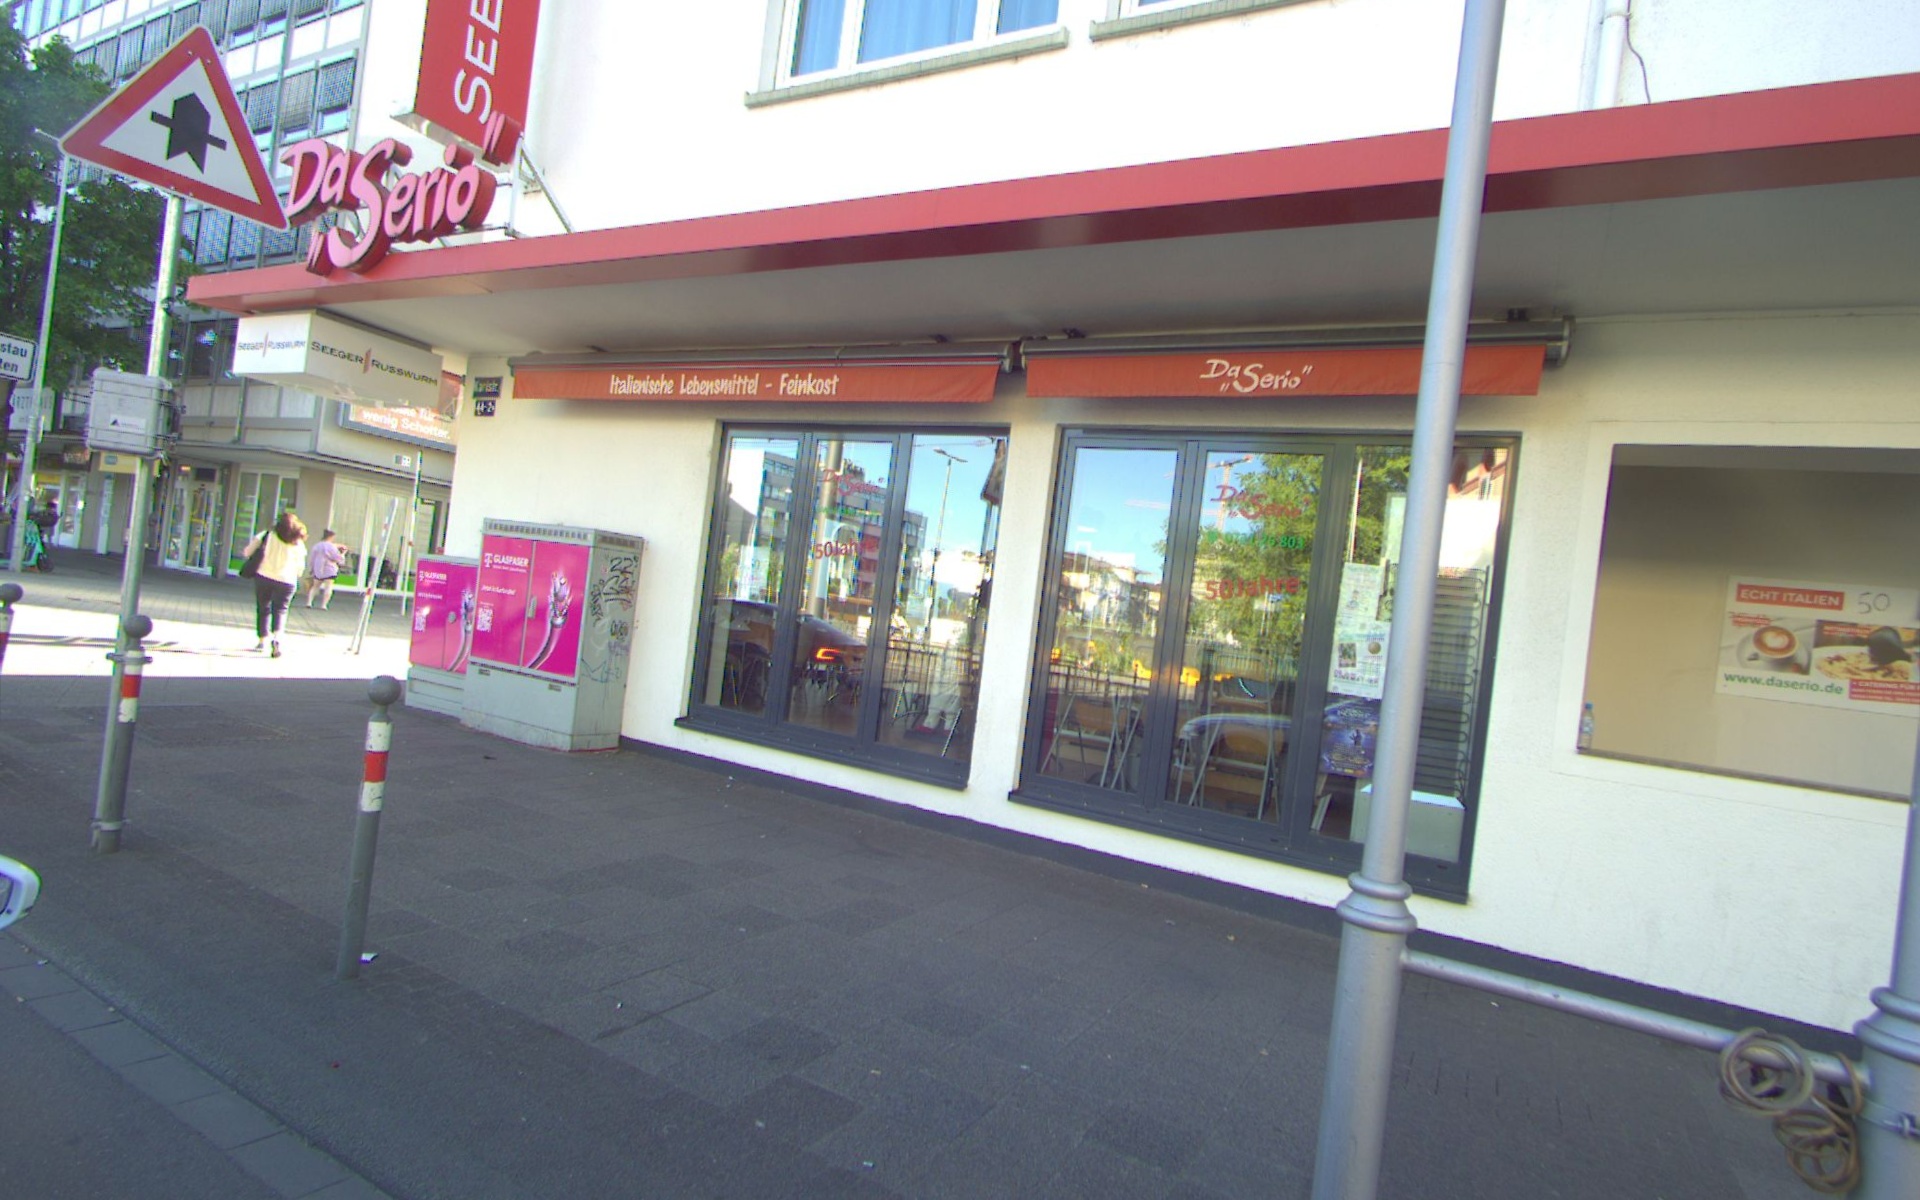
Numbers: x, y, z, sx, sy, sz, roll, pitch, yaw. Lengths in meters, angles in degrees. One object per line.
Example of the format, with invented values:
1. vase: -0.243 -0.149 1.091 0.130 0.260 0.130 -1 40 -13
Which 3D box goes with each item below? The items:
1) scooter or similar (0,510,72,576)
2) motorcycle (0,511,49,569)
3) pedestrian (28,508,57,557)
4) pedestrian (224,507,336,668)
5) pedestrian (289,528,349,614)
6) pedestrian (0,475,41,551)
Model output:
1. scooter or similar: -19.928 -1.230 21.169 1.628 1.229 0.640 8 -1 -29
2. motorcycle: -21.557 -1.408 22.399 0.532 1.186 1.711 7 -2 30
3. pedestrian: -26.704 -1.966 29.276 0.504 1.359 0.390 6 -1 34
4. pedestrian: -8.189 -0.153 12.132 0.909 1.773 1.029 7 0 -35
5. pedestrian: -13.710 -0.620 21.526 0.884 1.687 0.801 8 -1 -35
6. pedestrian: -26.996 -2.488 28.839 0.570 2.037 0.663 6 -1 34
